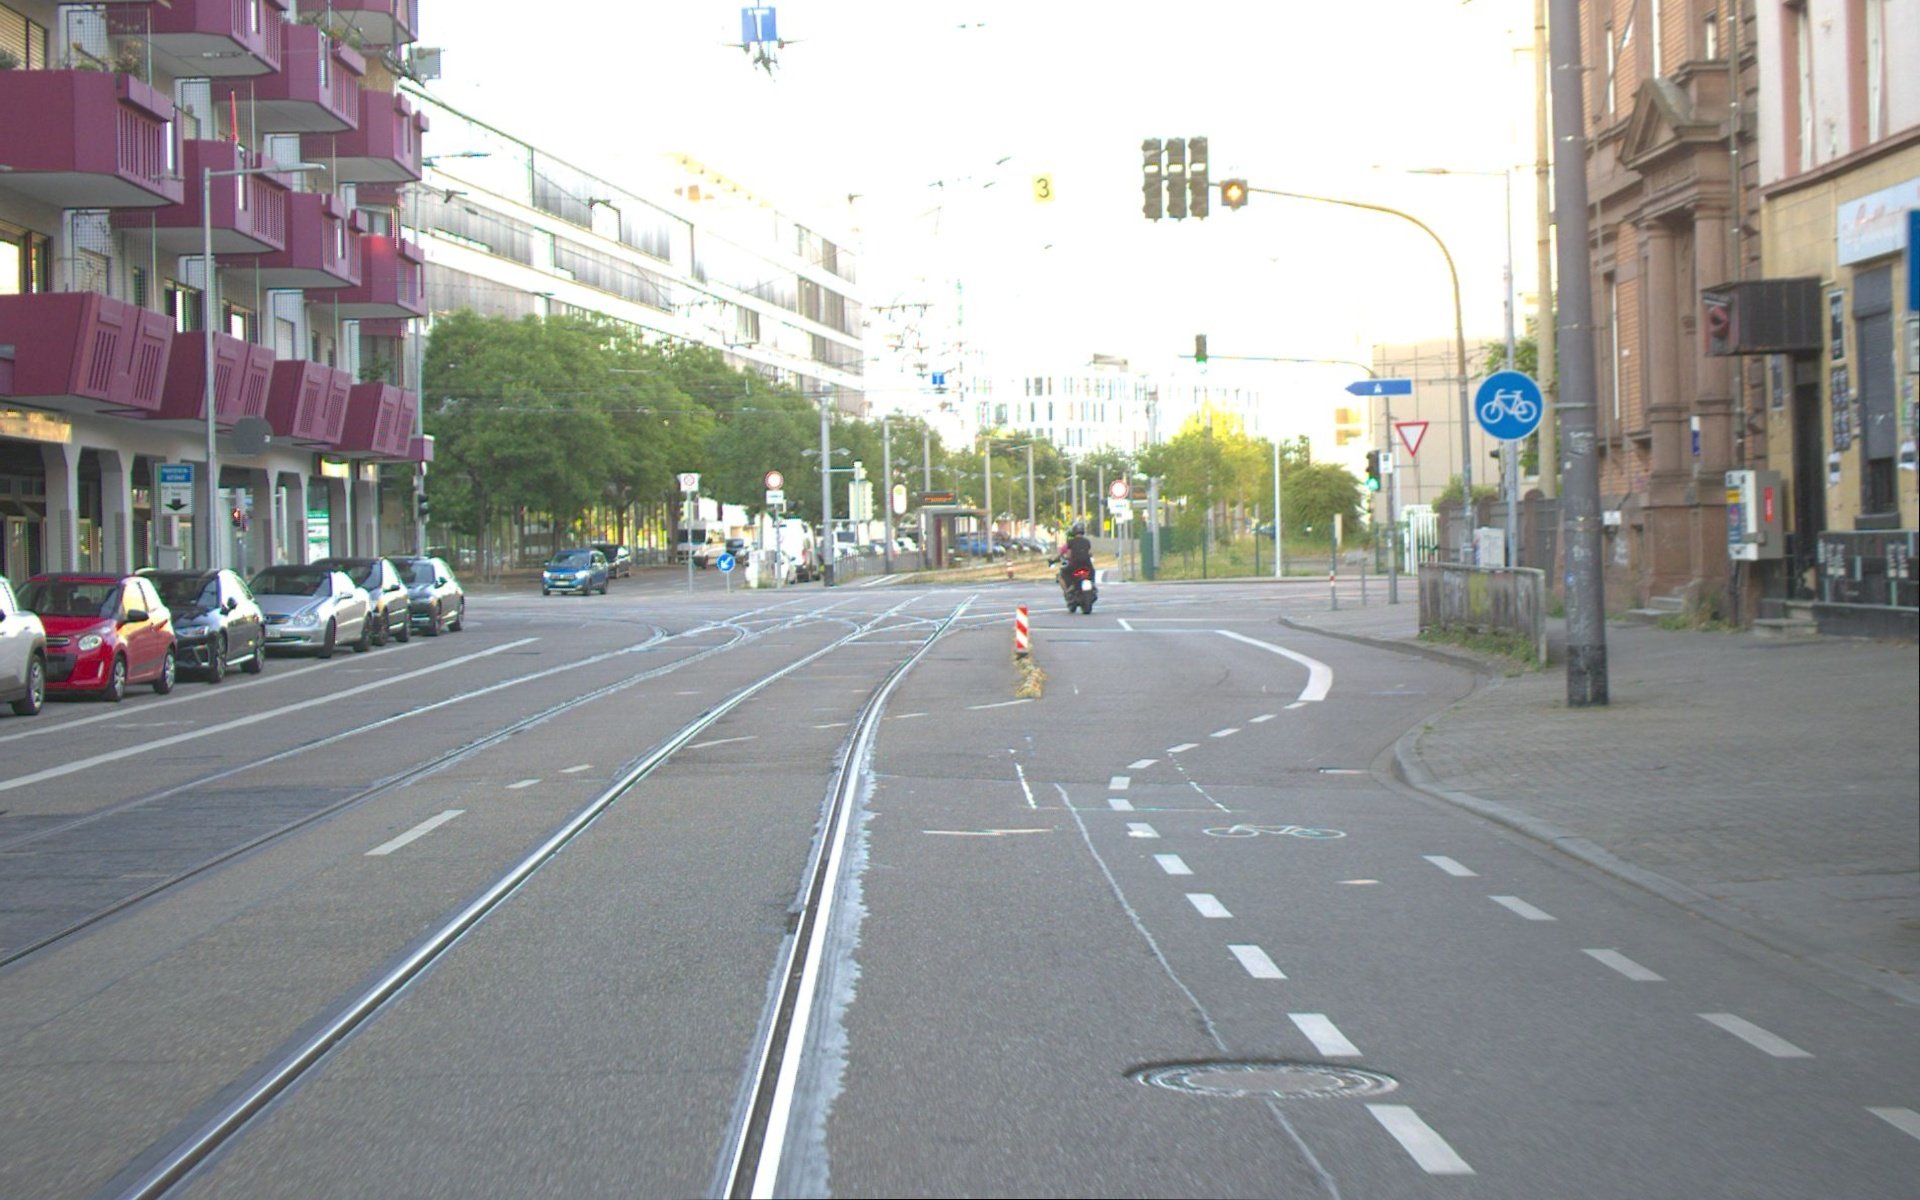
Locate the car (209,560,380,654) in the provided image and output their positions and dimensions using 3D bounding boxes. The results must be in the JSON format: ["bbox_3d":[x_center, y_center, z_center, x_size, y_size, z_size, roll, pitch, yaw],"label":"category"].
[{"bbox_3d":[-10.494,0.080,54.543,1.691,1.409,4.677,1,1,1],"label":"car"}]

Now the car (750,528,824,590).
[{"bbox_3d":[-7.152,-1.720,142.774,2.461,2.474,5.808,-1,1,3],"label":"car"}]

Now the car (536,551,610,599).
[{"bbox_3d":[-14.294,-0.934,127.299,1.683,1.694,4.238,-1,1,8],"label":"car"}]

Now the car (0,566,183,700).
[{"bbox_3d":[-10.341,0.357,40.348,1.611,1.474,3.479,1,1,0],"label":"car"}]

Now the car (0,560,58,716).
[{"bbox_3d":[-10.431,0.379,34.426,1.717,1.550,4.204,0,1,0],"label":"car"}]

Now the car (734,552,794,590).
[{"bbox_3d":[-7.784,-1.173,136.952,1.683,1.434,4.125,-1,1,6],"label":"car"}]

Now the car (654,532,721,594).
[{"bbox_3d":[-14.197,-1.934,179.511,2.202,3.141,6.141,-1,1,7],"label":"car"}]

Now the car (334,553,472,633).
[{"bbox_3d":[-10.673,-0.158,66.196,1.851,1.452,5.086,-1,1,0],"label":"car"}]

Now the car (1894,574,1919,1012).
[{"bbox_3d":[5.585,0.523,11.657,4.604,1.452,1.711,-3,1,-25],"label":"car"}]

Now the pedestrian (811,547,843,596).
[{"bbox_3d":[-5.549,-1.186,143.681,1.039,2.023,0.984,-1,1,-21],"label":"pedestrian"}]

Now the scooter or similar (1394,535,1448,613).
[{"bbox_3d":[7.738,-0.436,57.711,0.641,1.261,1.583,-3,1,0],"label":"scooter or similar"}]

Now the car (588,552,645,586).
[{"bbox_3d":[-15.700,-1.425,157.167,1.683,1.496,4.238,-1,1,7],"label":"car"}]

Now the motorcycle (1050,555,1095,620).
[{"bbox_3d":[2.210,-0.252,67.785,0.828,1.236,2.491,-1,1,1],"label":"motorcycle"}]

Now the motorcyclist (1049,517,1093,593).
[{"bbox_3d":[2.192,-0.888,67.852,0.828,1.468,1.207,-1,1,1],"label":"motorcyclist"}]

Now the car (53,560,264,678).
[{"bbox_3d":[-10.708,0.221,46.232,1.993,1.474,4.482,1,1,-3],"label":"car"}]
